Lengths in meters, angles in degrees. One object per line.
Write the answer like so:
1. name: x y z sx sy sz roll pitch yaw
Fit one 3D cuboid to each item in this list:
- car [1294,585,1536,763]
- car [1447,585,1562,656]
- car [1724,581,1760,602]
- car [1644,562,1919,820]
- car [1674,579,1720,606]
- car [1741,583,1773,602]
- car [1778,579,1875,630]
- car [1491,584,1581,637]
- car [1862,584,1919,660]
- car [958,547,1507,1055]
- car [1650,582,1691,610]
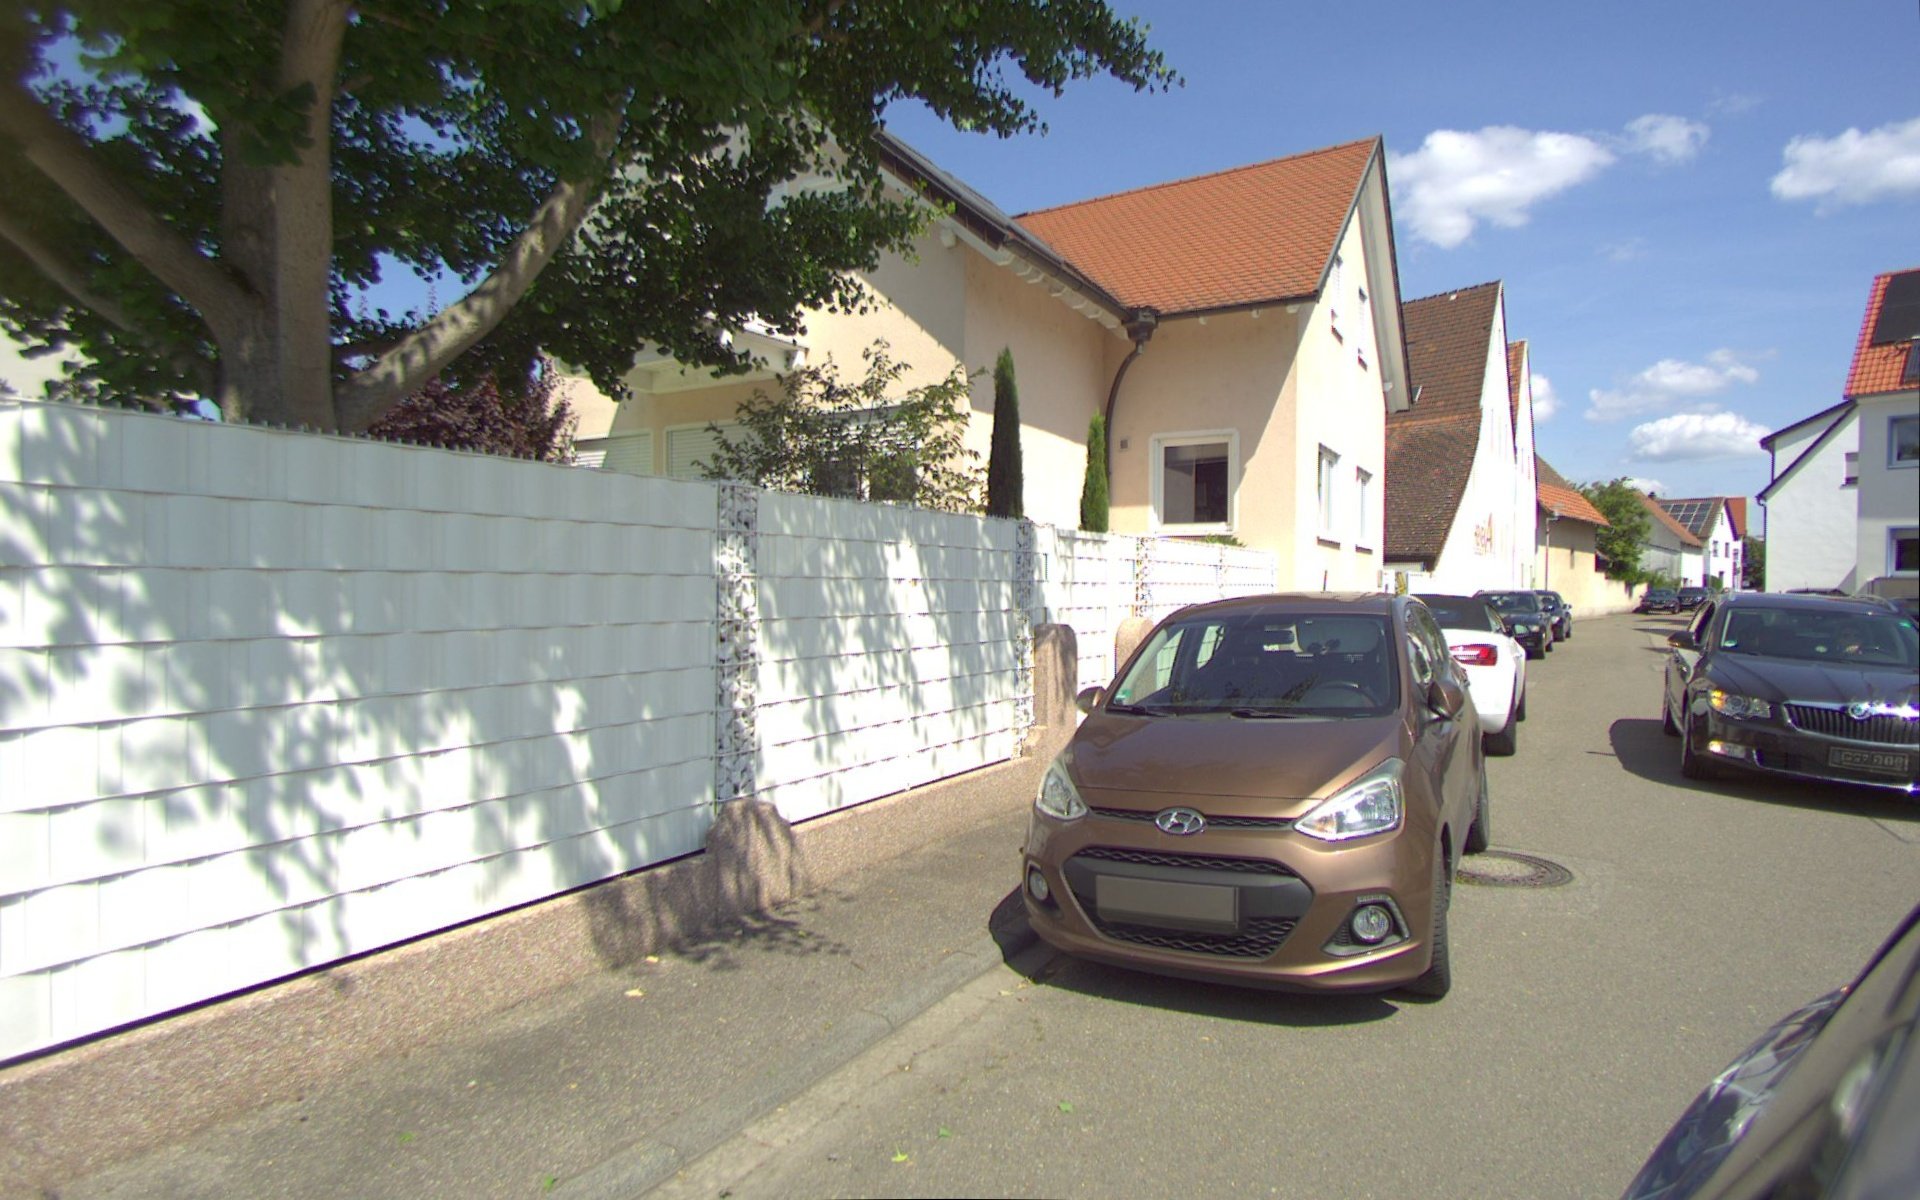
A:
1. car: 5.096 0.580 10.929 1.886 1.446 4.686 0 1 31
2. car: 12.297 0.373 22.698 1.888 1.382 4.681 0 1 33
3. car: 61.158 -0.704 79.154 1.780 1.519 3.975 -2 -1 44
4. car: 6.984 0.566 8.387 1.772 1.554 4.659 4 2 30
5. car: 47.027 -0.498 64.520 1.780 1.630 3.937 -2 -1 44
6. car: 69.396 -0.684 88.112 1.780 1.519 3.975 -2 -1 44
7. car: 26.895 0.120 31.398 3.719 1.473 1.641 0 0 -39
8. car: 16.864 0.242 29.521 1.890 1.382 4.359 1 1 35
9. car: 19.502 0.379 19.945 4.387 1.366 1.774 -2 1 -37
10. car: 1.761 0.615 5.268 1.703 1.552 3.992 -3 -1 31
11. car: 40.905 -0.261 58.265 1.776 1.497 3.946 2 2 37
